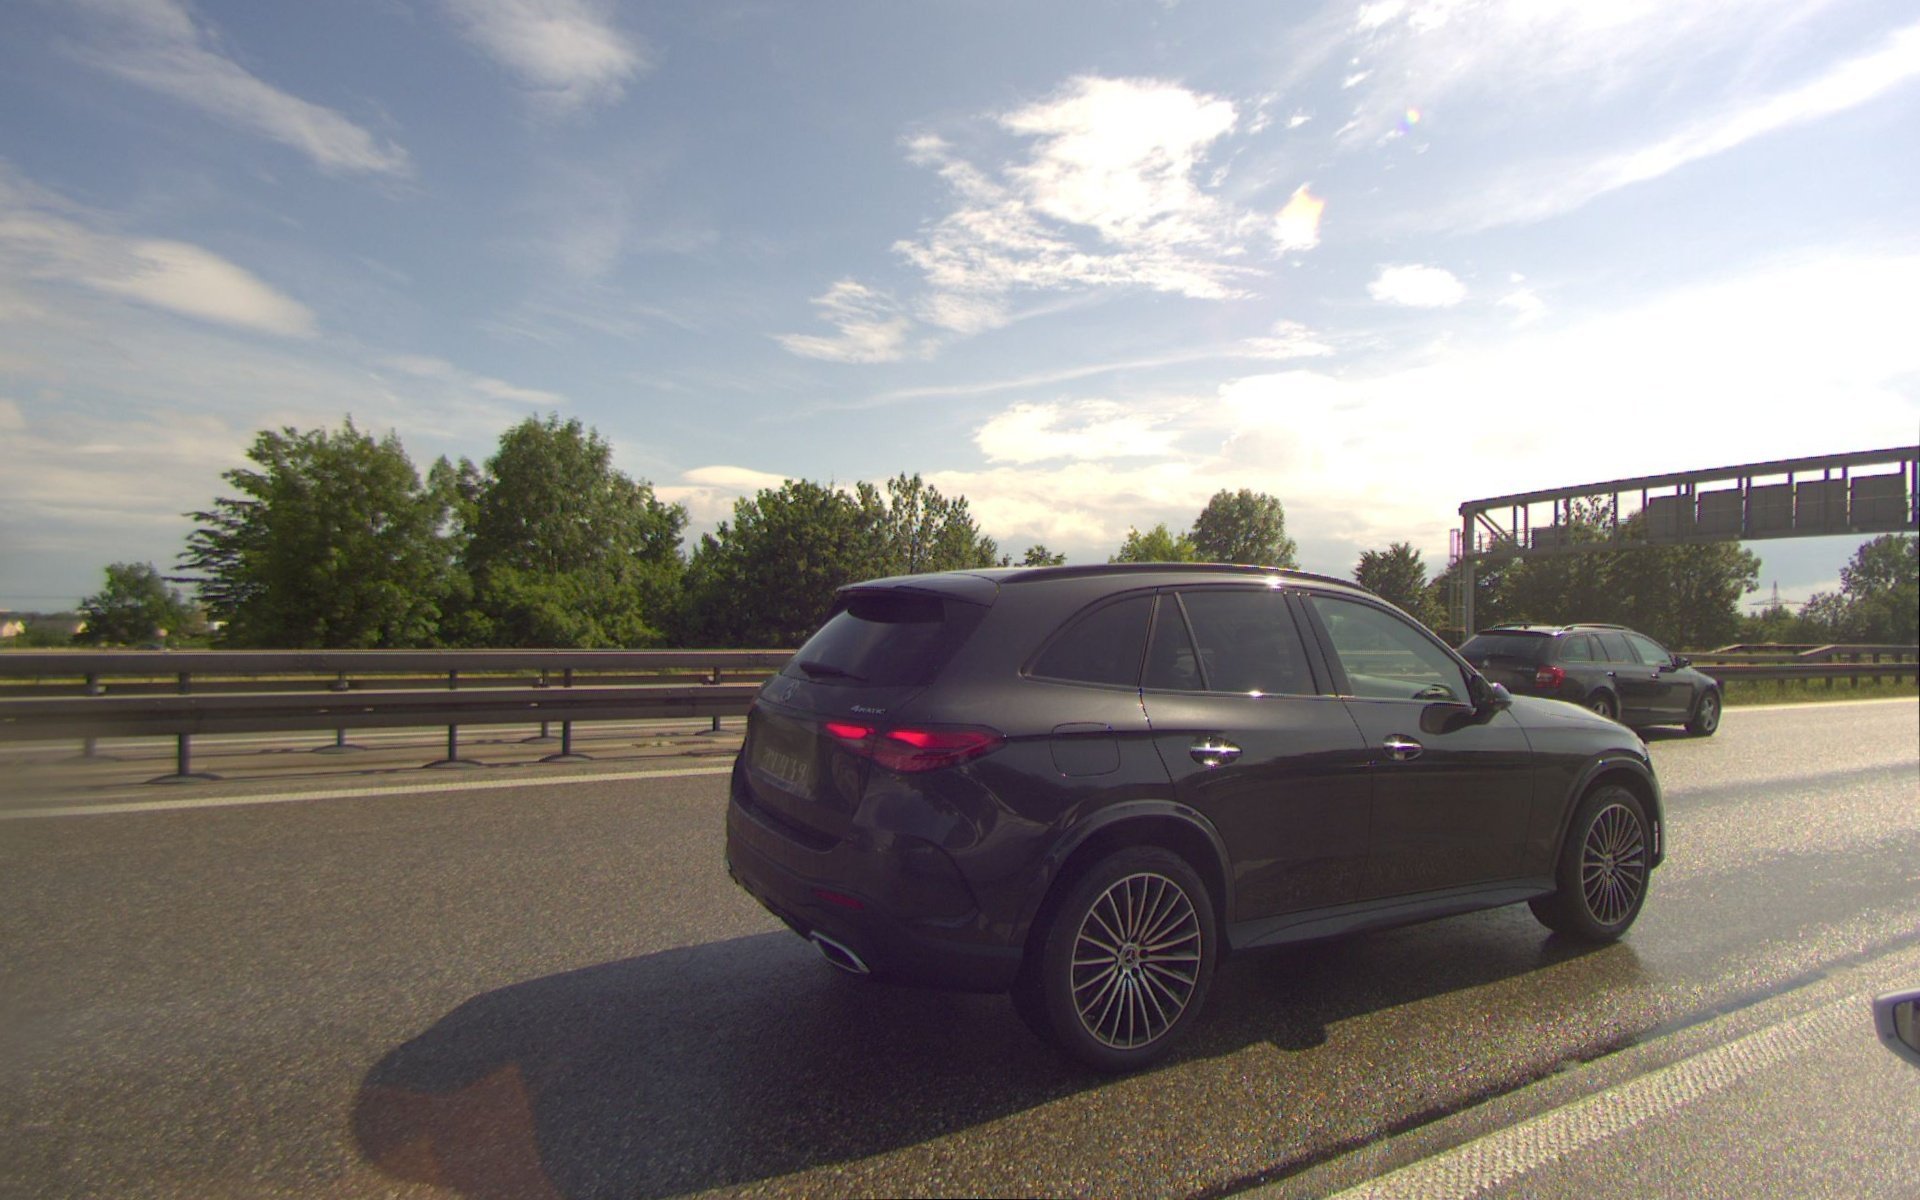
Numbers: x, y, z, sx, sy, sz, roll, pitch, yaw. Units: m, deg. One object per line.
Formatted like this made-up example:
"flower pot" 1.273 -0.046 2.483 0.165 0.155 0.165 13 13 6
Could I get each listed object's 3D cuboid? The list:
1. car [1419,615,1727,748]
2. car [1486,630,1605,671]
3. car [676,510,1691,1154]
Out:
"car" 8.303 1.009 13.543 4.157 1.537 1.749 1 -1 -29
"car" 23.594 1.989 40.412 4.982 1.506 2.105 2 -1 -32
"car" 1.148 0.670 4.601 4.354 1.683 1.984 2 -1 -30
